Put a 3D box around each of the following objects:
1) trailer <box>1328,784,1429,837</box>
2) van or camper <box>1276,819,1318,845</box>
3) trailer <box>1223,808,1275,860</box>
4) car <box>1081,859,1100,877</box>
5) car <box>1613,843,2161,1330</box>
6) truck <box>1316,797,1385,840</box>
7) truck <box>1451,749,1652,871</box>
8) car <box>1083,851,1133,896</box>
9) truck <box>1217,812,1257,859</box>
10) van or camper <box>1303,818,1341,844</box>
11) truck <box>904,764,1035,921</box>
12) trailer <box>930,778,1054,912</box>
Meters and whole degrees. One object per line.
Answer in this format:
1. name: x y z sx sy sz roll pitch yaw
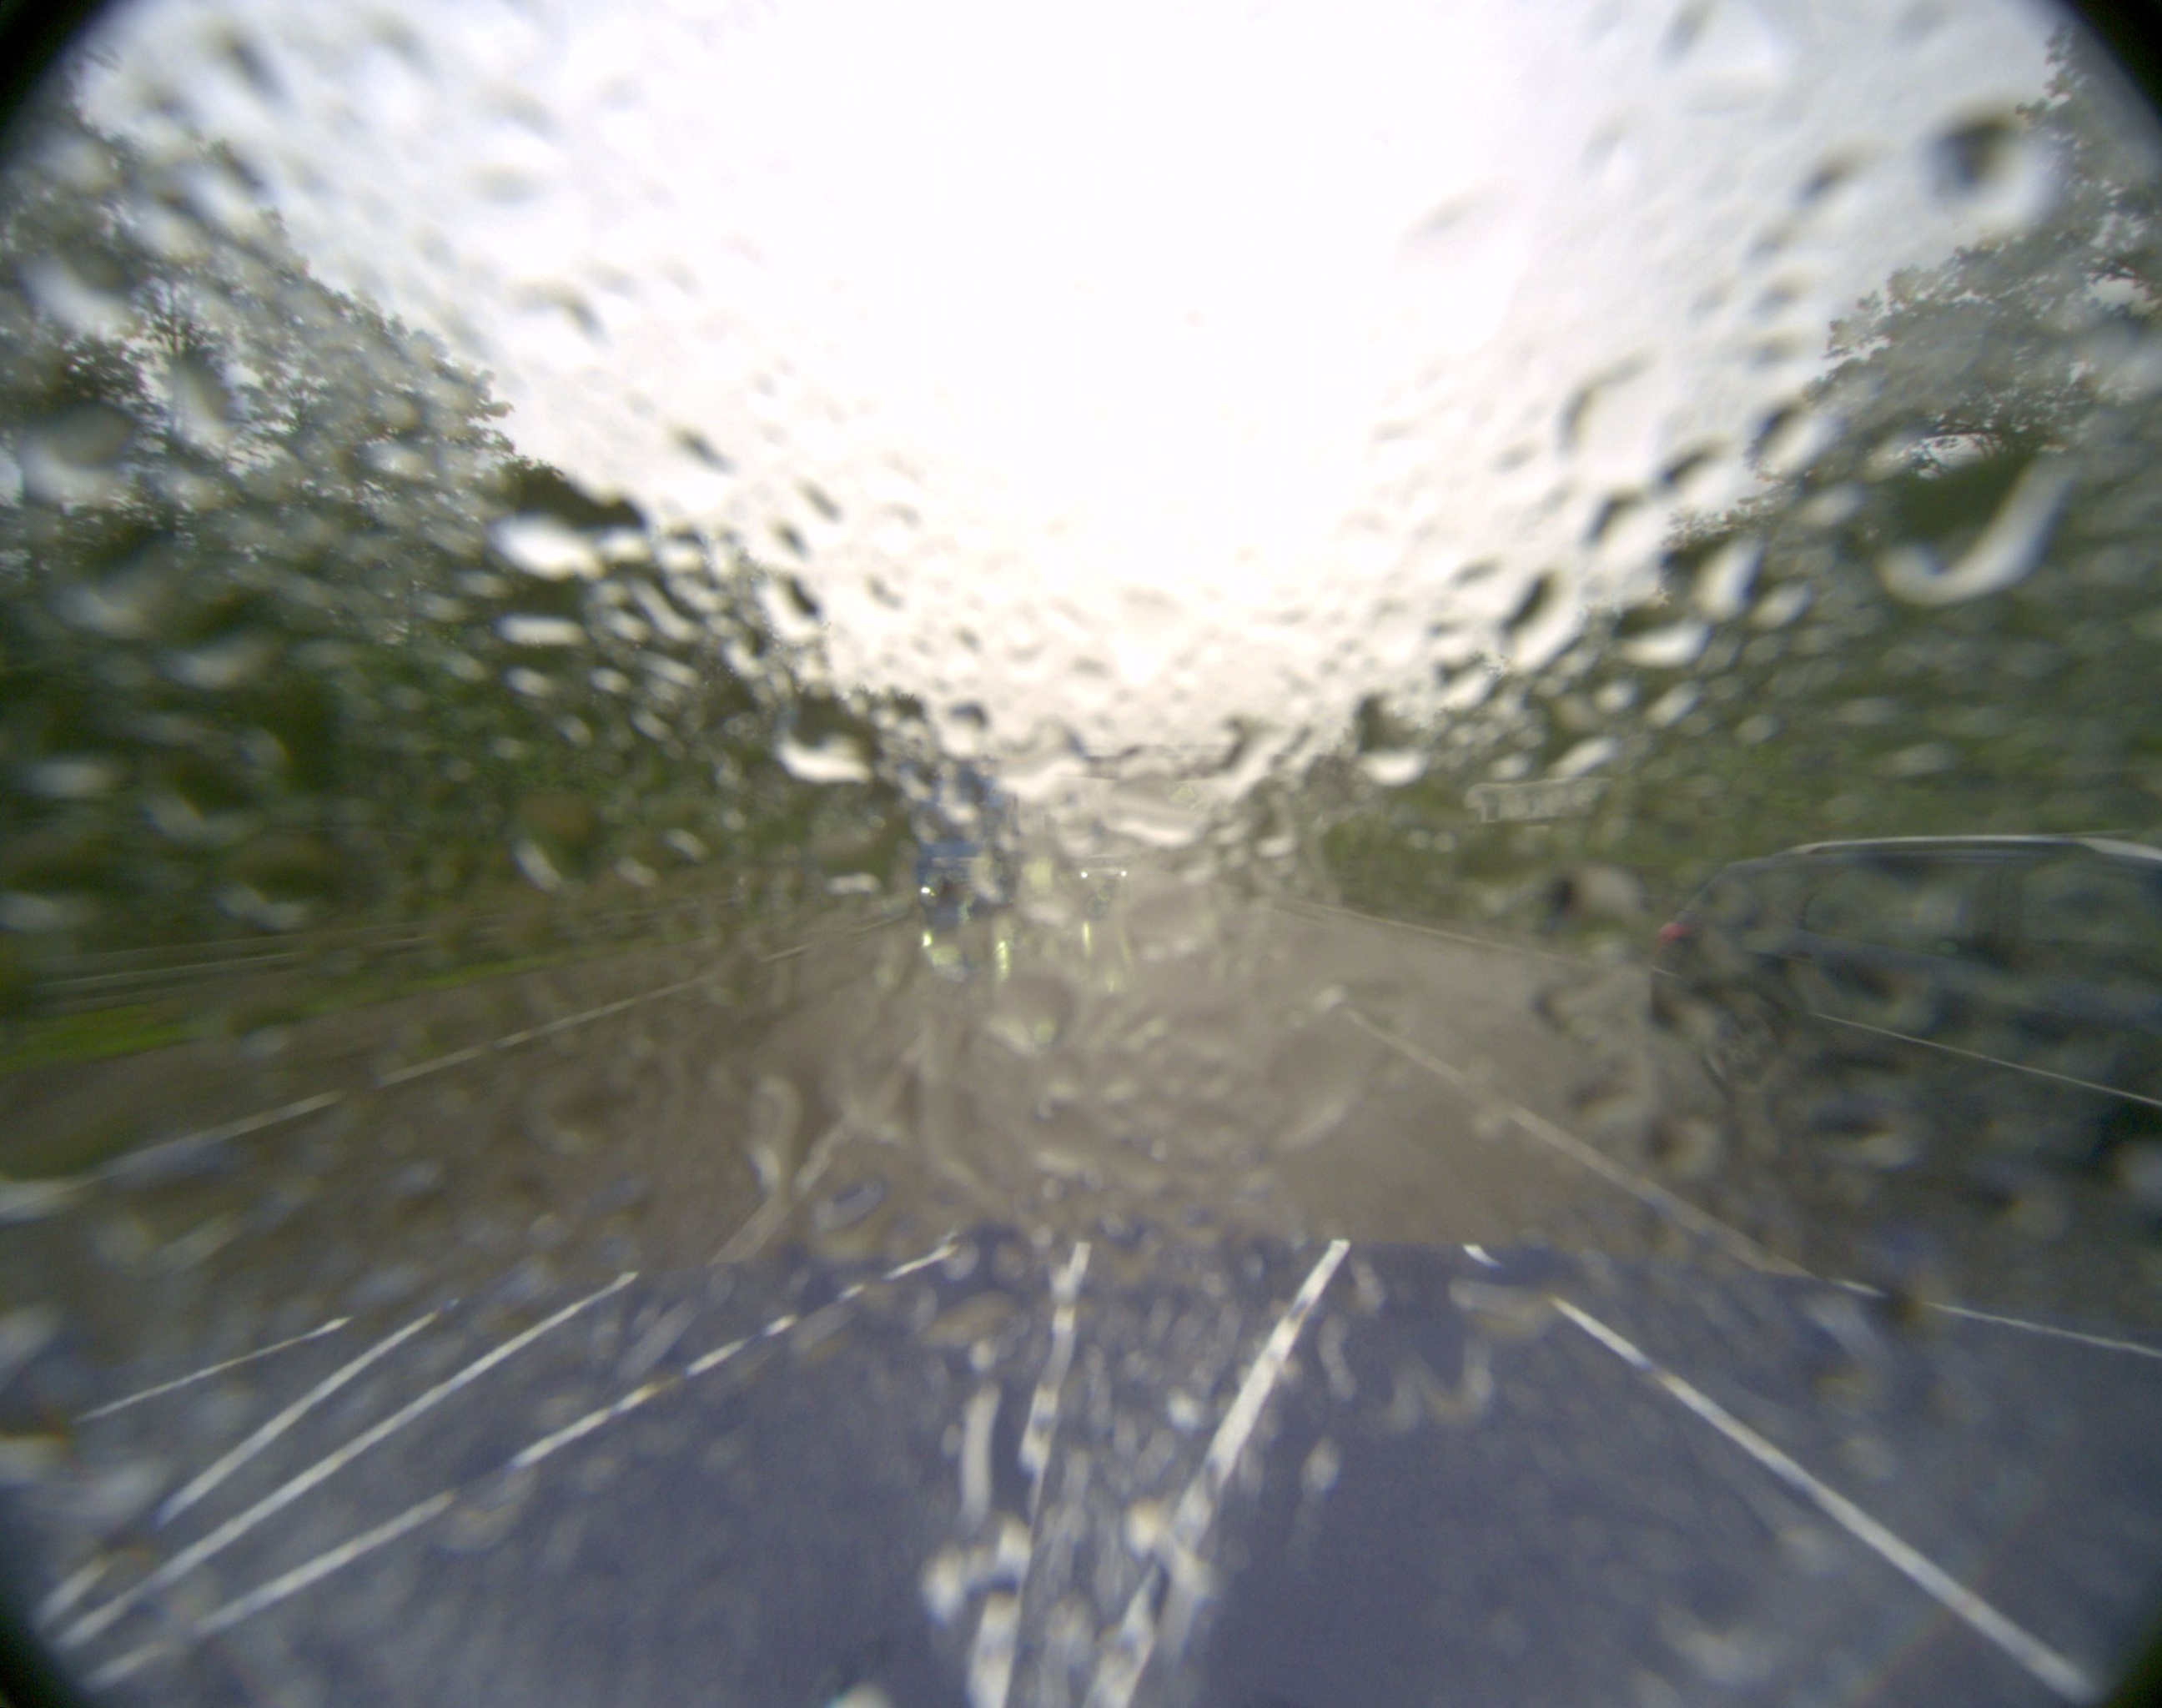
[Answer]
1. trailer: 22.554 -3.151 58.566 3.436 3.364 11.547 -2 0 1
2. van or camper: 18.262 -1.816 64.417 1.990 2.002 5.895 -2 0 2
3. trailer: 19.019 -2.143 86.863 3.436 5.426 11.547 -2 0 1
4. car: 1.021 1.395 78.073 1.850 1.703 4.000 -2 1 1
5. car: 4.458 0.746 2.311 2.059 1.477 5.157 -2 1 0
6. truck: 22.697 -2.894 64.429 3.344 3.251 7.174 -2 0 1
7. truck: 17.644 -1.486 29.324 3.042 3.994 7.706 -2 0 1
8. car: 0.996 0.706 29.506 1.752 1.545 4.090 -2 0 1
9. truck: 19.207 -2.184 94.058 3.441 5.427 7.714 -2 0 1
10. van or camper: 18.440 -1.715 58.375 1.503 1.839 4.505 -2 0 1
11. truck: -3.121 -0.338 23.214 2.755 4.055 6.482 -2 1 1
12. trailer: -2.950 -0.358 30.123 2.751 3.941 14.128 -2 1 1
